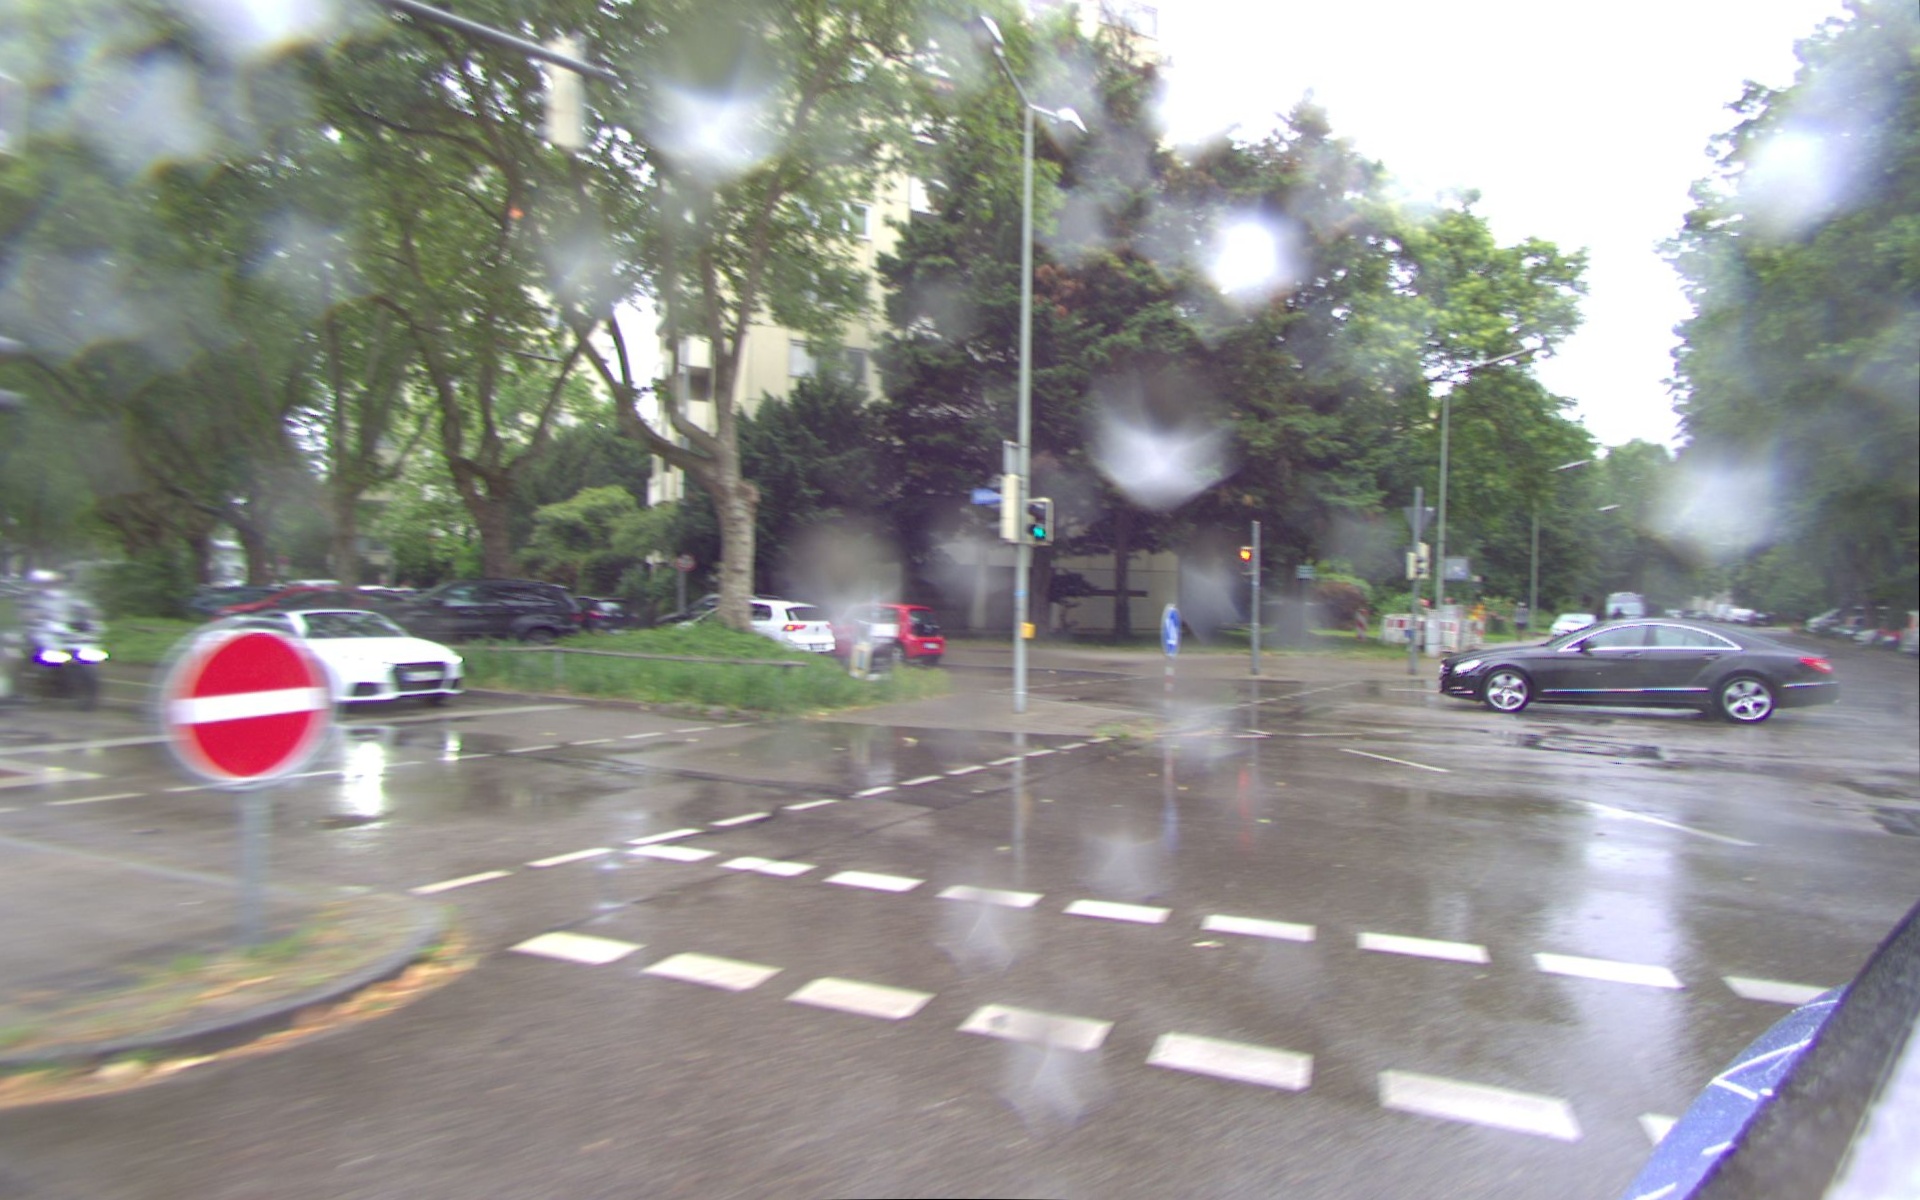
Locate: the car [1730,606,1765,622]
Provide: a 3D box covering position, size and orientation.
[{"bbox_3d":[81.145,1.412,104.272,1.978,1.643,3.664,1,0,24],"label":"car"}]

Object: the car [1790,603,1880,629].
[{"bbox_3d":[61.924,1.124,71.716,4.647,1.624,2.006,2,1,37],"label":"car"}]

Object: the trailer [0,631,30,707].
[{"bbox_3d":[-12.112,0.824,12.159,1.471,0.852,1.016,1,0,31],"label":"trailer"}]

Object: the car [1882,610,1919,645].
[{"bbox_3d":[47.040,1.383,48.186,4.387,1.605,1.901,2,1,37],"label":"car"}]

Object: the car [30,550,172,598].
[{"bbox_3d":[-45.775,-1.373,54.041,5.493,2.431,2.236,1,0,-5],"label":"car"}]

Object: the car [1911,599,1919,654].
[{"bbox_3d":[35.965,1.014,34.689,4.647,1.897,2.006,2,1,37],"label":"car"}]

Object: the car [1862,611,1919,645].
[{"bbox_3d":[48.098,1.421,50.443,4.505,1.590,2.006,2,1,37],"label":"car"}]

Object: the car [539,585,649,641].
[{"bbox_3d":[-11.232,0.370,30.962,3.474,1.616,1.811,1,0,44],"label":"car"}]

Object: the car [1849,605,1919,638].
[{"bbox_3d":[52.882,1.212,57.231,3.702,1.711,1.911,2,1,37],"label":"car"}]

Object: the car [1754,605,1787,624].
[{"bbox_3d":[79.953,1.400,99.880,1.985,1.829,3.955,1,0,32],"label":"car"}]

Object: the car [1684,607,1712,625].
[{"bbox_3d":[74.937,1.601,102.844,1.985,1.829,4.299,1,0,32],"label":"car"}]

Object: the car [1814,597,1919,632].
[{"bbox_3d":[58.000,0.906,64.651,5.062,2.049,2.006,2,1,37],"label":"car"}]

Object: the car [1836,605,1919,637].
[{"bbox_3d":[54.134,1.201,59.248,4.089,1.711,1.803,2,1,37],"label":"car"}]

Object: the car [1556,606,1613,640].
[{"bbox_3d":[28.662,1.025,46.397,1.813,1.478,4.213,1,0,38],"label":"car"}]

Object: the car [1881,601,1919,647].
[{"bbox_3d":[42.840,1.090,43.558,4.415,1.923,2.008,2,1,35],"label":"car"}]

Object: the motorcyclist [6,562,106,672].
[{"bbox_3d":[-11.654,0.205,13.057,0.748,1.368,0.750,1,0,30],"label":"motorcyclist"}]

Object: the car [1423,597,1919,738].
[{"bbox_3d":[9.244,0.768,13.523,5.472,1.537,2.239,1,0,24],"label":"car"}]

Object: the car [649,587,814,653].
[{"bbox_3d":[-6.244,0.489,27.448,4.427,1.628,1.916,1,0,35],"label":"car"}]

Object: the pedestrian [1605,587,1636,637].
[{"bbox_3d":[28.653,0.512,43.913,0.940,2.088,1.065,2,0,40],"label":"pedestrian"}]

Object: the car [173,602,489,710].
[{"bbox_3d":[-8.868,0.691,14.264,4.129,1.291,1.886,1,0,26],"label":"car"}]

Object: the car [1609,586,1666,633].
[{"bbox_3d":[39.081,0.529,58.323,2.390,2.506,5.615,2,1,37],"label":"car"}]

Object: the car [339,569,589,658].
[{"bbox_3d":[-10.307,0.271,21.163,4.511,1.685,1.877,1,0,-31],"label":"car"}]

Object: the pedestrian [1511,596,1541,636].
[{"bbox_3d":[24.843,0.704,44.433,0.940,1.681,0.915,2,0,40],"label":"pedestrian"}]

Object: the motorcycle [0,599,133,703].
[{"bbox_3d":[-11.656,0.612,13.048,2.057,1.230,0.872,1,0,30],"label":"motorcycle"}]

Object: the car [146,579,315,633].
[{"bbox_3d":[-21.076,0.182,29.311,3.777,1.440,1.882,1,1,-43],"label":"car"}]

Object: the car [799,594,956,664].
[{"bbox_3d":[-2.034,0.655,24.710,3.435,1.544,1.821,1,0,33],"label":"car"}]

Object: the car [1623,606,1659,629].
[{"bbox_3d":[48.492,1.223,72.022,1.988,1.558,3.948,1,0,36],"label":"car"}]

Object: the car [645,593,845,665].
[{"bbox_3d":[-4.893,0.604,22.876,4.361,1.451,1.764,1,0,30],"label":"car"}]
